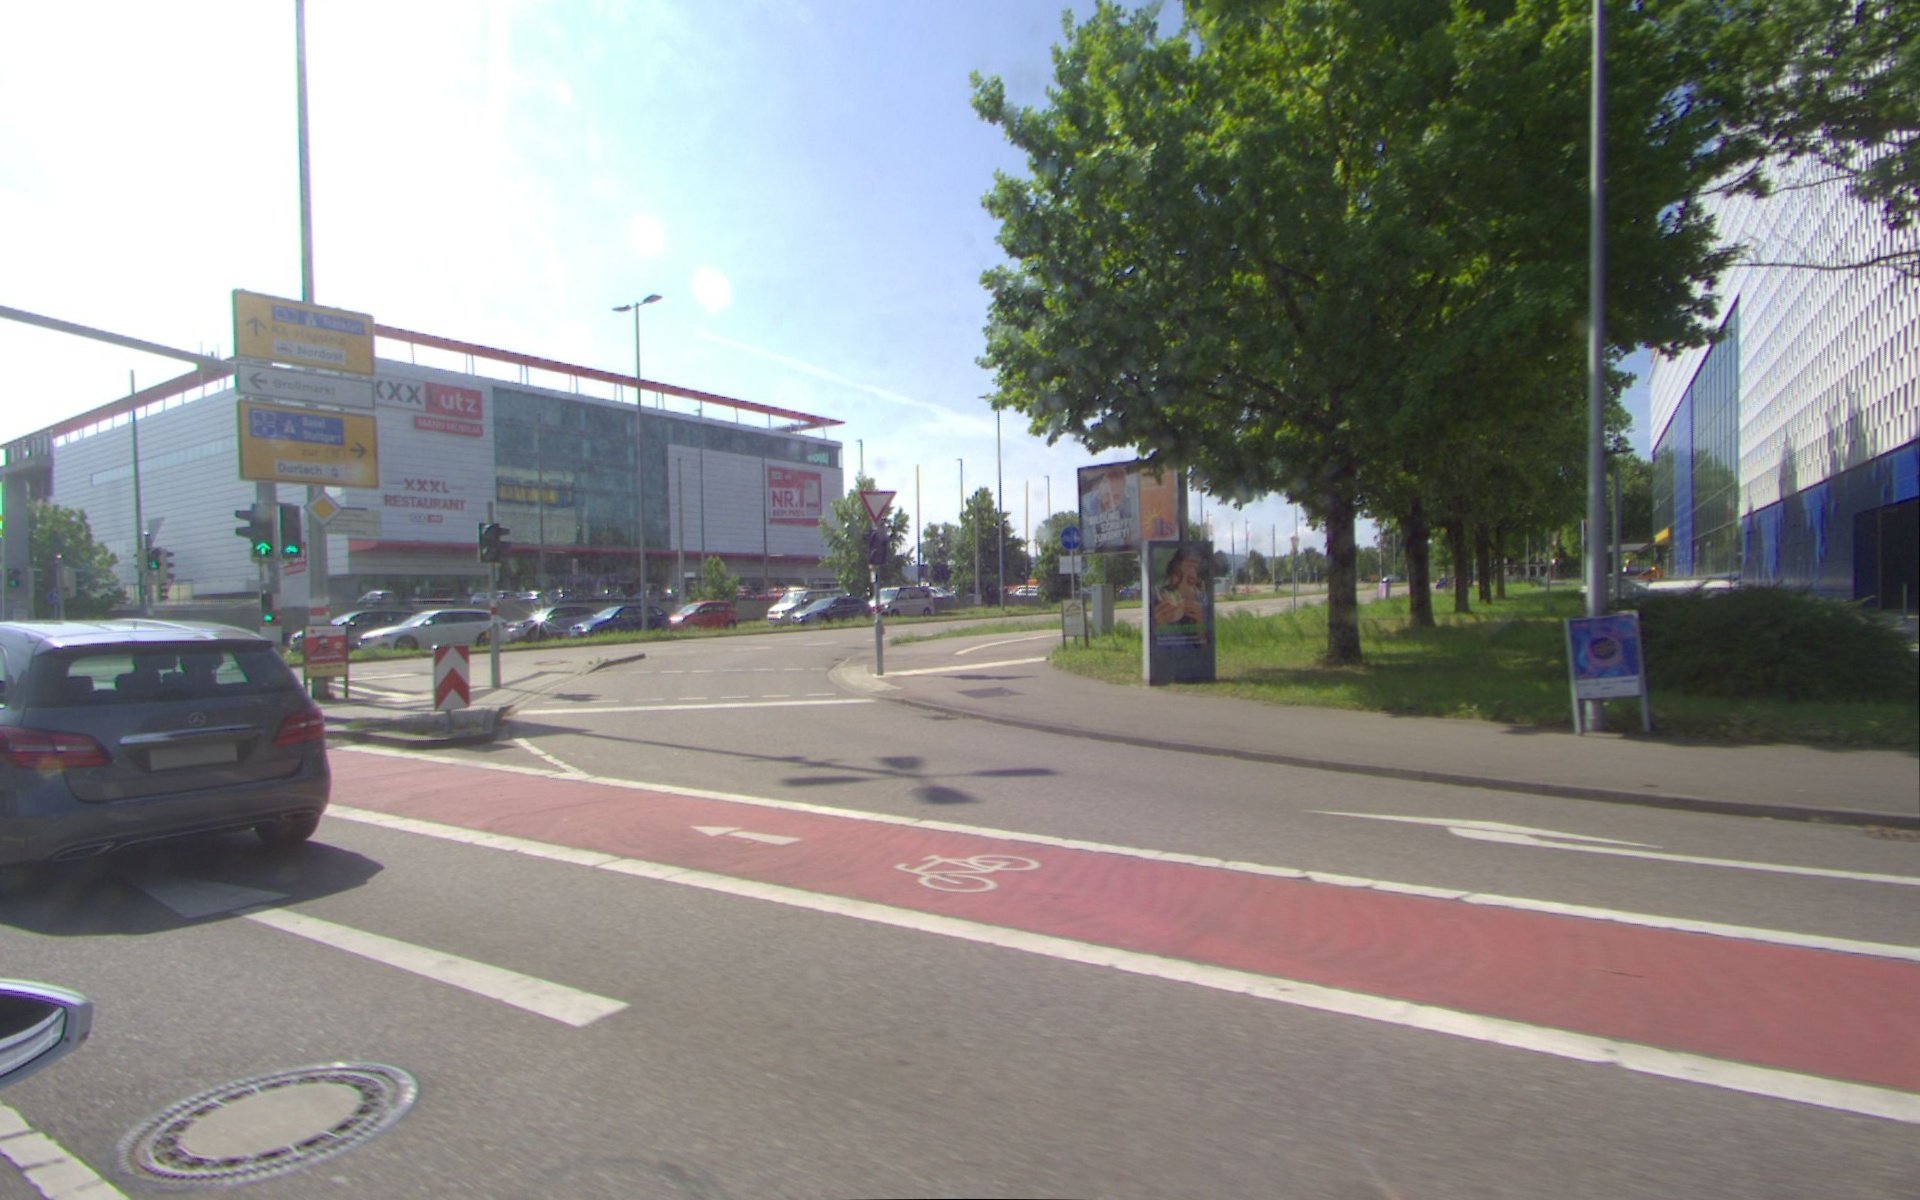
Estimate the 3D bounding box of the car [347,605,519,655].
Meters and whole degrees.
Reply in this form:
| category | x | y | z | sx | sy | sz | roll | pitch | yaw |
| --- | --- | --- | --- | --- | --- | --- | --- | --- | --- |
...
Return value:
| category | x | y | z | sx | sy | sz | roll | pitch | yaw |
| --- | --- | --- | --- | --- | --- | --- | --- | --- | --- |
| car | -17.528 | 0.971 | 33.505 | 1.933 | 1.444 | 4.701 | -2 | 0 | 35 |

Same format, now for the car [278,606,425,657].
| category | x | y | z | sx | sy | sz | roll | pitch | yaw |
| --- | --- | --- | --- | --- | --- | --- | --- | --- | --- |
| car | -20.678 | 1.034 | 34.160 | 1.785 | 1.579 | 3.871 | -1 | 0 | 36 |

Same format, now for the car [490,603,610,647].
| category | x | y | z | sx | sy | sz | roll | pitch | yaw |
| --- | --- | --- | --- | --- | --- | --- | --- | --- | --- |
| car | -16.279 | 0.985 | 39.879 | 1.883 | 1.528 | 4.015 | -2 | 0 | 35 |

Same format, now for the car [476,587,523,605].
| category | x | y | z | sx | sy | sz | roll | pitch | yaw |
| --- | --- | --- | --- | --- | --- | --- | --- | --- | --- |
| car | -39.151 | -0.327 | 85.124 | 3.951 | 1.438 | 1.795 | -1 | 0 | 32 |

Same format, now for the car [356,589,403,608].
| category | x | y | z | sx | sy | sz | roll | pitch | yaw |
| --- | --- | --- | --- | --- | --- | --- | --- | --- | --- |
| car | -47.455 | -0.121 | 81.817 | 4.144 | 1.438 | 1.765 | -1 | 0 | 35 |

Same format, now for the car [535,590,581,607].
| category | x | y | z | sx | sy | sz | roll | pitch | yaw |
| --- | --- | --- | --- | --- | --- | --- | --- | --- | --- |
| car | -36.033 | -0.098 | 89.698 | 4.144 | 1.438 | 1.866 | -1 | 0 | 35 |

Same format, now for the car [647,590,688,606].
| category | x | y | z | sx | sy | sz | roll | pitch | yaw |
| --- | --- | --- | --- | --- | --- | --- | --- | --- | --- |
| car | -29.014 | -0.207 | 99.263 | 4.144 | 1.438 | 1.730 | -1 | 0 | 35 |

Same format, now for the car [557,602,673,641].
| category | x | y | z | sx | sy | sz | roll | pitch | yaw |
| --- | --- | --- | --- | --- | --- | --- | --- | --- | --- |
| car | -13.340 | 0.815 | 38.879 | 1.701 | 1.359 | 4.032 | -2 | -1 | 35 |

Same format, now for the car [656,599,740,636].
| category | x | y | z | sx | sy | sz | roll | pitch | yaw |
| --- | --- | --- | --- | --- | --- | --- | --- | --- | --- |
| car | -11.878 | 0.778 | 45.584 | 1.578 | 1.596 | 3.458 | -1 | 0 | 36 |

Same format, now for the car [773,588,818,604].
| category | x | y | z | sx | sy | sz | roll | pitch | yaw |
| --- | --- | --- | --- | --- | --- | --- | --- | --- | --- |
| car | -15.350 | -0.385 | 93.380 | 4.051 | 1.438 | 1.784 | -1 | 0 | 33 |

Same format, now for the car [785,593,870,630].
| category | x | y | z | sx | sy | sz | roll | pitch | yaw |
| --- | --- | --- | --- | --- | --- | --- | --- | --- | --- |
| car | -6.306 | 0.534 | 48.089 | 1.662 | 1.641 | 4.101 | -1 | 0 | 37 |

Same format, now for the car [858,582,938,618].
| category | x | y | z | sx | sy | sz | roll | pitch | yaw |
| --- | --- | --- | --- | --- | --- | --- | --- | --- | --- |
| car | -3.506 | -0.014 | 57.555 | 1.890 | 1.961 | 4.756 | -2 | -1 | 37 |

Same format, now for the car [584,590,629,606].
| category | x | y | z | sx | sy | sz | roll | pitch | yaw |
| --- | --- | --- | --- | --- | --- | --- | --- | --- | --- |
| car | -33.043 | -0.191 | 93.607 | 4.144 | 1.438 | 1.894 | -1 | 0 | 35 |

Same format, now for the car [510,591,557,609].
| category | x | y | z | sx | sy | sz | roll | pitch | yaw |
| --- | --- | --- | --- | --- | --- | --- | --- | --- | --- |
| car | -37.061 | -0.018 | 87.026 | 4.144 | 1.438 | 1.826 | -1 | 0 | 35 |

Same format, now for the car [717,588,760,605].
| category | x | y | z | sx | sy | sz | roll | pitch | yaw |
| --- | --- | --- | --- | --- | --- | --- | --- | --- | --- |
| car | -20.774 | -0.312 | 93.913 | 3.956 | 1.438 | 1.734 | -1 | 0 | 35 |

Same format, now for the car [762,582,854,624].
| category | x | y | z | sx | sy | sz | roll | pitch | yaw |
| --- | --- | --- | --- | --- | --- | --- | --- | --- | --- |
| car | -7.744 | 0.112 | 51.425 | 1.937 | 2.001 | 4.658 | -3 | -1 | 36 |

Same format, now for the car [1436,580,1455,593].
| category | x | y | z | sx | sy | sz | roll | pitch | yaw |
| --- | --- | --- | --- | --- | --- | --- | --- | --- | --- |
| car | 62.260 | -1.693 | 128.391 | 1.619 | 1.555 | 3.892 | -1 | 0 | 34 |

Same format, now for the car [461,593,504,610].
| category | x | y | z | sx | sy | sz | roll | pitch | yaw |
| --- | --- | --- | --- | --- | --- | --- | --- | --- | --- |
| car | -43.500 | 0.137 | 91.175 | 3.857 | 1.438 | 1.682 | -1 | 0 | 30 |

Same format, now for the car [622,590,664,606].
| category | x | y | z | sx | sy | sz | roll | pitch | yaw |
| --- | --- | --- | --- | --- | --- | --- | --- | --- | --- |
| car | -30.842 | -0.204 | 97.438 | 4.143 | 1.438 | 1.799 | -1 | 0 | 35 |

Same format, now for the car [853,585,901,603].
| category | x | y | z | sx | sy | sz | roll | pitch | yaw |
| --- | --- | --- | --- | --- | --- | --- | --- | --- | --- |
| car | -7.450 | -0.529 | 89.572 | 4.144 | 1.438 | 1.679 | -1 | 0 | 35 |

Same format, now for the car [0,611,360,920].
| category | x | y | z | sx | sy | sz | roll | pitch | yaw |
| --- | --- | --- | --- | --- | --- | --- | --- | --- | --- |
| car | -6.118 | 0.859 | 6.876 | 4.077 | 1.559 | 1.770 | 0 | 0 | 32 |

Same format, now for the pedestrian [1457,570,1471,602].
| category | x | y | z | sx | sy | sz | roll | pitch | yaw |
| --- | --- | --- | --- | --- | --- | --- | --- | --- | --- |
| pedestrian | 32.148 | -0.889 | 63.870 | 0.670 | 2.039 | 0.600 | -1 | -2 | 18 |
